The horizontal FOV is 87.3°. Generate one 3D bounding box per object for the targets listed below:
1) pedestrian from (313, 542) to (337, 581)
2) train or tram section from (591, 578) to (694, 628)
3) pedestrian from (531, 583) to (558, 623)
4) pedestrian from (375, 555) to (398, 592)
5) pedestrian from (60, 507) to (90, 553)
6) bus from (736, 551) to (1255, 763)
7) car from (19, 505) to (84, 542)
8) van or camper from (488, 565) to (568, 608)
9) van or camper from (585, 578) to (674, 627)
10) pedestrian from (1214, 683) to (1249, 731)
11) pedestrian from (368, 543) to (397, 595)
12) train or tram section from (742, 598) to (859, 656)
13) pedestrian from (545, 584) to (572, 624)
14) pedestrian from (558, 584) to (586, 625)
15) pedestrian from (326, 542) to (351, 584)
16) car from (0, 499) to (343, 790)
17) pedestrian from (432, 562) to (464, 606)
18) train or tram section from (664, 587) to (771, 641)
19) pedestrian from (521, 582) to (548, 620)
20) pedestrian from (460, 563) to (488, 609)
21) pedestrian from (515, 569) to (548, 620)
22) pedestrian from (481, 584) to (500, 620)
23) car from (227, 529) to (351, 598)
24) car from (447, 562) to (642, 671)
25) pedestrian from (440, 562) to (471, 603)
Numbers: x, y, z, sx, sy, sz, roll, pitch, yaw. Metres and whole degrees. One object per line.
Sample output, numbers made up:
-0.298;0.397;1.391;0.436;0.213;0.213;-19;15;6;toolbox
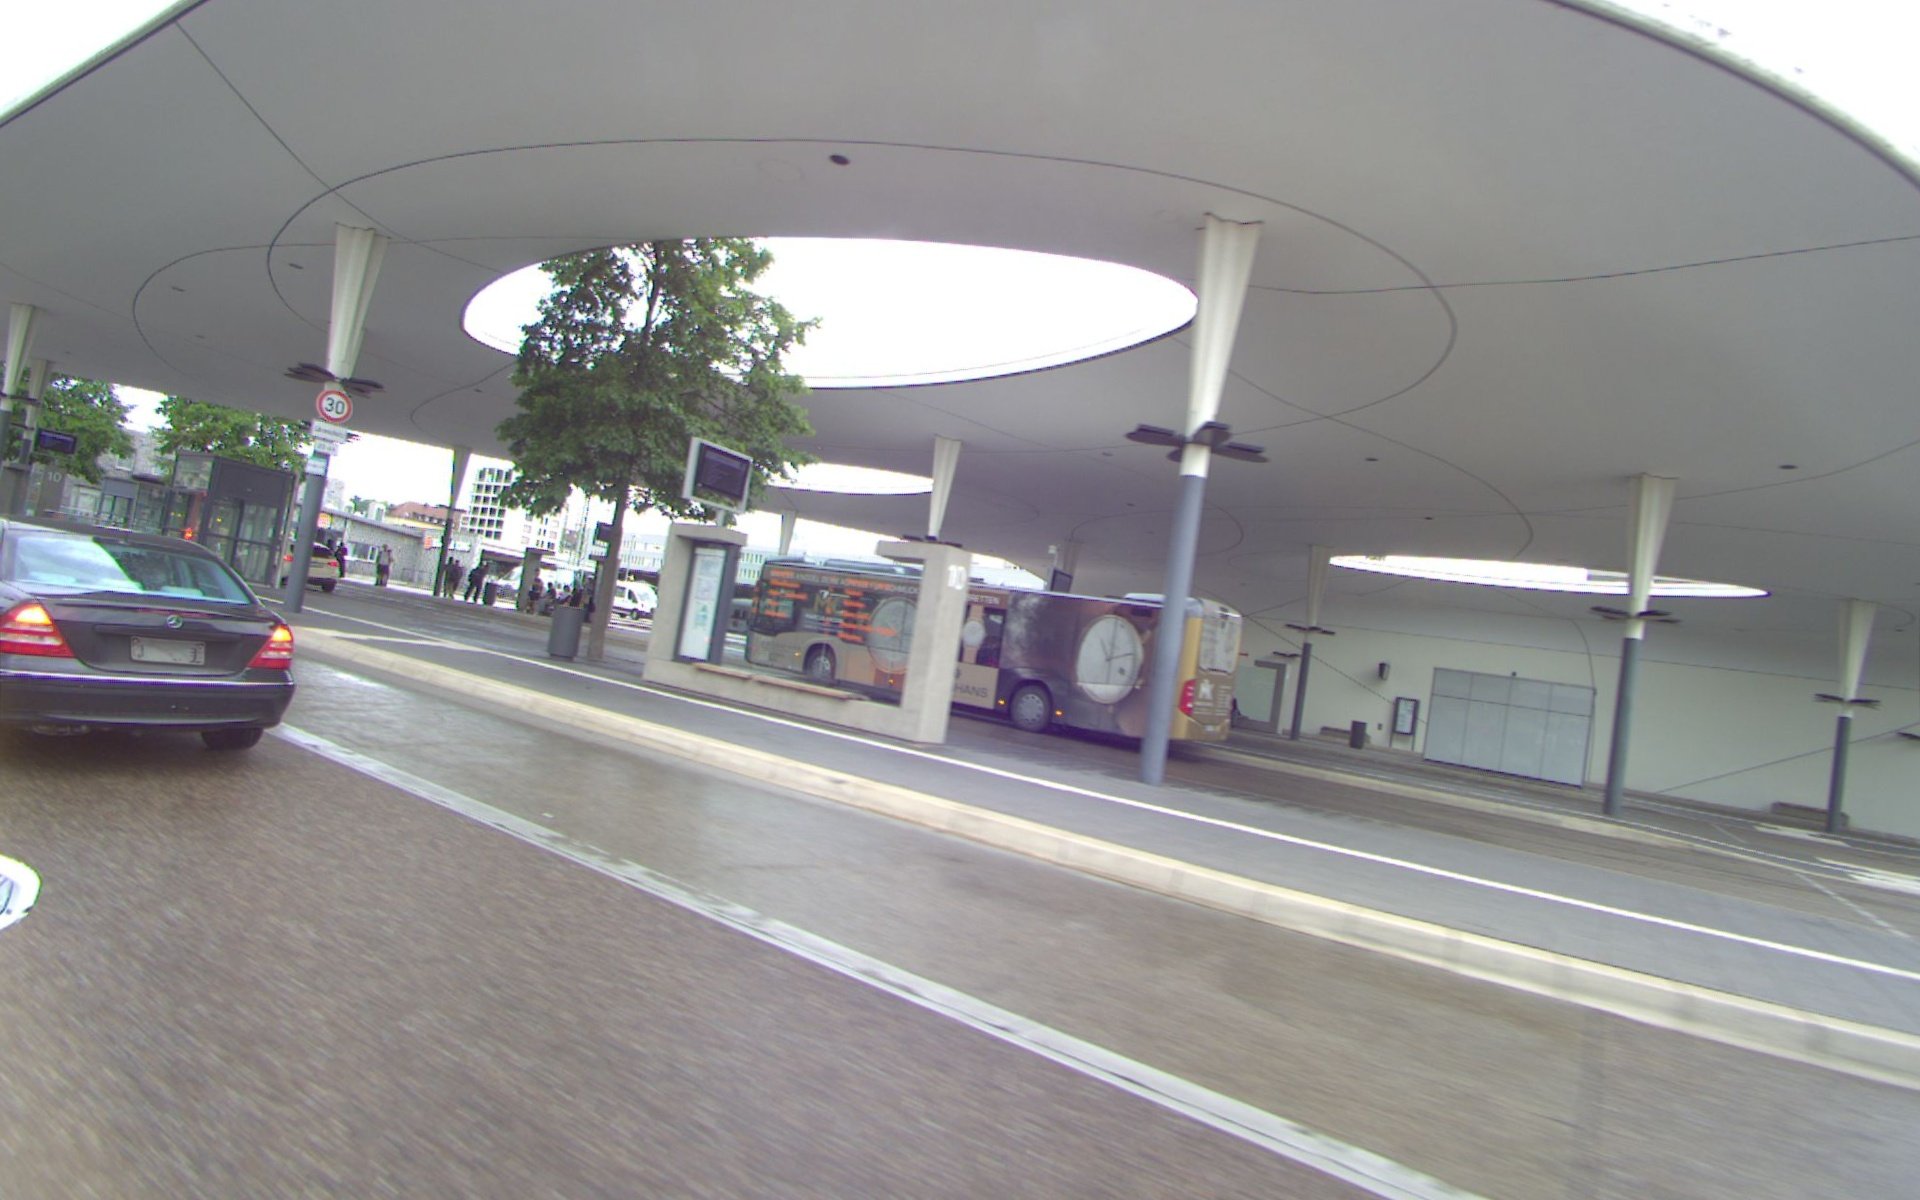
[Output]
-28.277;-1.713;44.800;0.575;1.592;0.559;11;-7;-26;pedestrian
-34.444;0.249;108.819;12.125;3.693;3.143;7;-6;34;train or tram section
-16.379;0.123;39.677;0.603;1.460;0.561;6;-3;31;pedestrian
-26.435;-1.216;46.388;0.573;1.592;0.560;10;-7;-20;pedestrian
-34.413;-2.709;39.109;0.570;1.697;0.579;8;-2;-29;pedestrian
0.234;1.030;22.859;11.896;3.078;2.725;7;-2;35;bus
-50.058;-4.219;55.414;3.351;1.577;1.545;7;-3;30;car
-30.506;-0.937;71.181;2.075;2.294;4.699;7;-3;30;van or camper
-22.777;0.145;69.255;6.113;2.536;2.098;7;-3;31;van or camper
9.901;3.908;36.701;0.892;1.602;0.798;6;-5;28;pedestrian
-24.546;-1.301;42.777;0.719;2.031;0.666;11;-8;-29;pedestrian
-15.301;2.502;95.766;11.429;3.715;3.143;7;-6;34;train or tram section
-15.698;0.174;39.359;0.603;1.460;0.561;6;-3;31;pedestrian
-14.875;0.176;38.581;0.625;1.460;0.561;6;-3;31;pedestrian
-28.138;-1.676;45.553;0.573;1.731;0.560;10;-7;-20;pedestrian
-6.265;0.104;6.910;4.234;1.479;1.700;7;-2;33;car
-19.864;-0.610;38.999;0.699;1.598;0.600;5;-4;25;pedestrian
-24.750;1.378;102.218;11.429;3.693;3.143;7;-6;34;train or tram section
-16.908;0.040;39.998;0.603;1.375;0.561;6;-3;31;pedestrian
-19.648;-0.585;40.660;0.707;1.730;0.757;5;4;-43;pedestrian
-15.257;-0.202;35.832;0.603;1.710;0.562;8;-2;28;pedestrian
-19.795;0.091;42.407;0.469;1.402;0.560;10;-7;-20;pedestrian
-22.092;-1.222;33.081;4.171;1.680;1.716;7;-4;34;car
-7.670;0.302;18.530;3.184;1.469;1.651;7;-3;33;car
-21.631;-0.751;43.144;0.759;1.592;0.583;7;-7;2;pedestrian
